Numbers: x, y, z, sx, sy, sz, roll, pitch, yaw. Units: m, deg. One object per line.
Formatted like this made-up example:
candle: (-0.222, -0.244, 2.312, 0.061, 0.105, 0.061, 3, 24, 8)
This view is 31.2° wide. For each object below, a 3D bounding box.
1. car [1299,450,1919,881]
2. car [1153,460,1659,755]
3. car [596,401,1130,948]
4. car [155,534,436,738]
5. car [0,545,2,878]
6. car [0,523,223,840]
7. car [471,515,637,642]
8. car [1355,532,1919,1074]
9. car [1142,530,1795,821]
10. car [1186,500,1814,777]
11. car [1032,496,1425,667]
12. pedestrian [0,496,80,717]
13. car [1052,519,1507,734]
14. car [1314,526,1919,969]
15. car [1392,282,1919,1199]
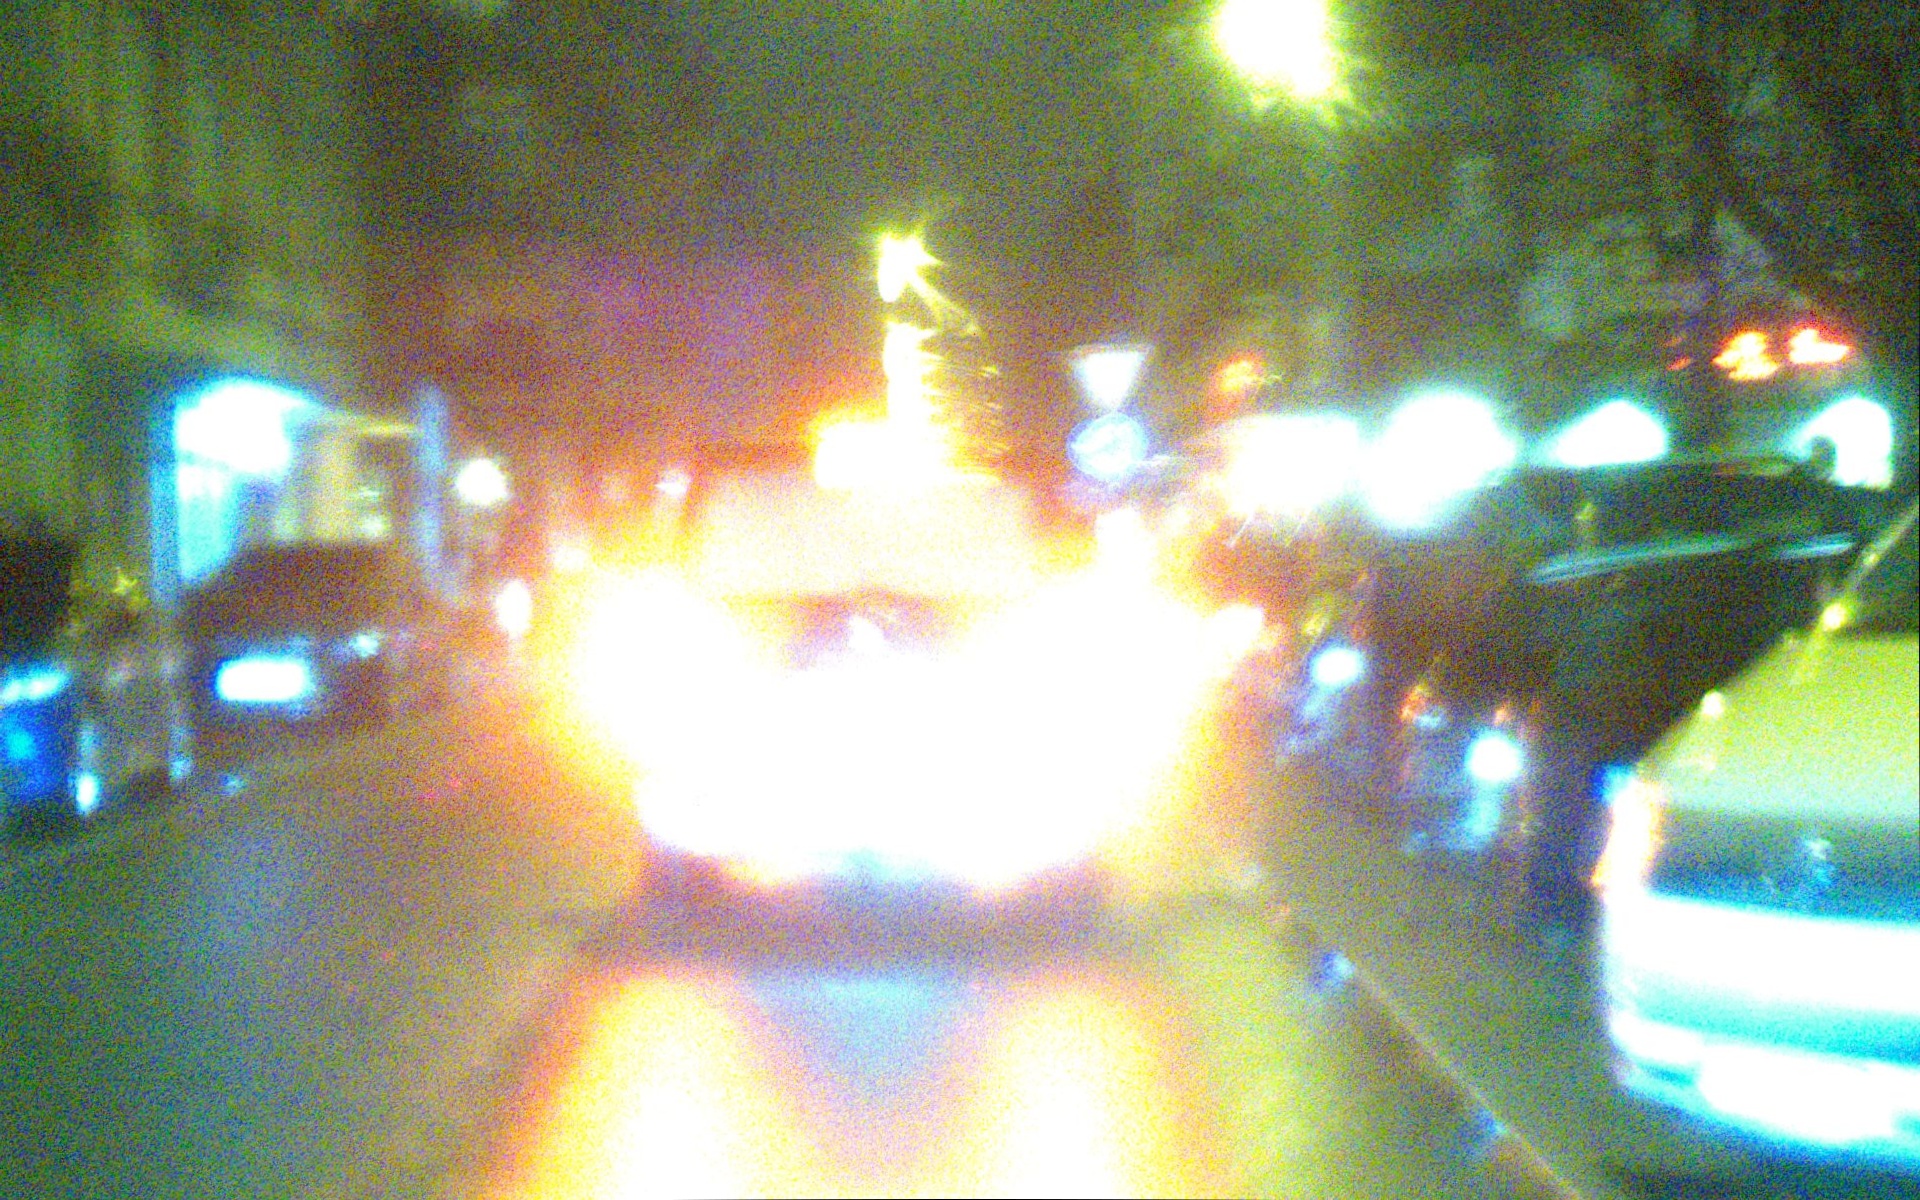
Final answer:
car: (3.650, 0.233, 16.709, 3.738, 1.834, 1.726, -3, 1, -37)
car: (3.344, 0.017, 25.523, 3.555, 1.984, 1.605, -3, 1, -37)
car: (-0.382, 0.269, 14.873, 1.993, 2.043, 4.000, 0, 0, -1)
car: (-5.432, 0.242, 28.541, 1.812, 1.552, 4.077, 1, 1, -4)
car: (-5.057, 0.521, 13.341, 1.587, 1.477, 3.793, 1, 1, 1)
car: (-5.174, 0.359, 18.854, 1.655, 1.552, 4.077, 1, 1, -4)
car: (-5.633, -0.323, 48.102, 1.883, 1.679, 4.000, 1, 1, -1)
car: (3.152, 0.530, 11.276, 3.504, 1.489, 1.450, -3, 1, -32)
car: (3.001, 0.388, 20.048, 3.554, 1.448, 1.672, -3, 1, -35)
car: (3.696, 0.205, 23.267, 3.988, 1.582, 1.880, -4, 2, -36)
car: (2.939, -0.212, 37.280, 3.988, 1.755, 1.880, 0, 1, -37)
pedestrian: (-7.285, 0.046, 26.817, 0.701, 1.698, 0.539, 1, 1, 0)
car: (2.678, 0.189, 28.538, 3.555, 1.585, 1.605, -3, 1, -37)
car: (3.342, 0.477, 13.676, 3.555, 1.479, 1.726, -3, 1, -36)
car: (3.579, 0.372, 8.270, 4.784, 2.042, 2.067, -1, 2, -31)
